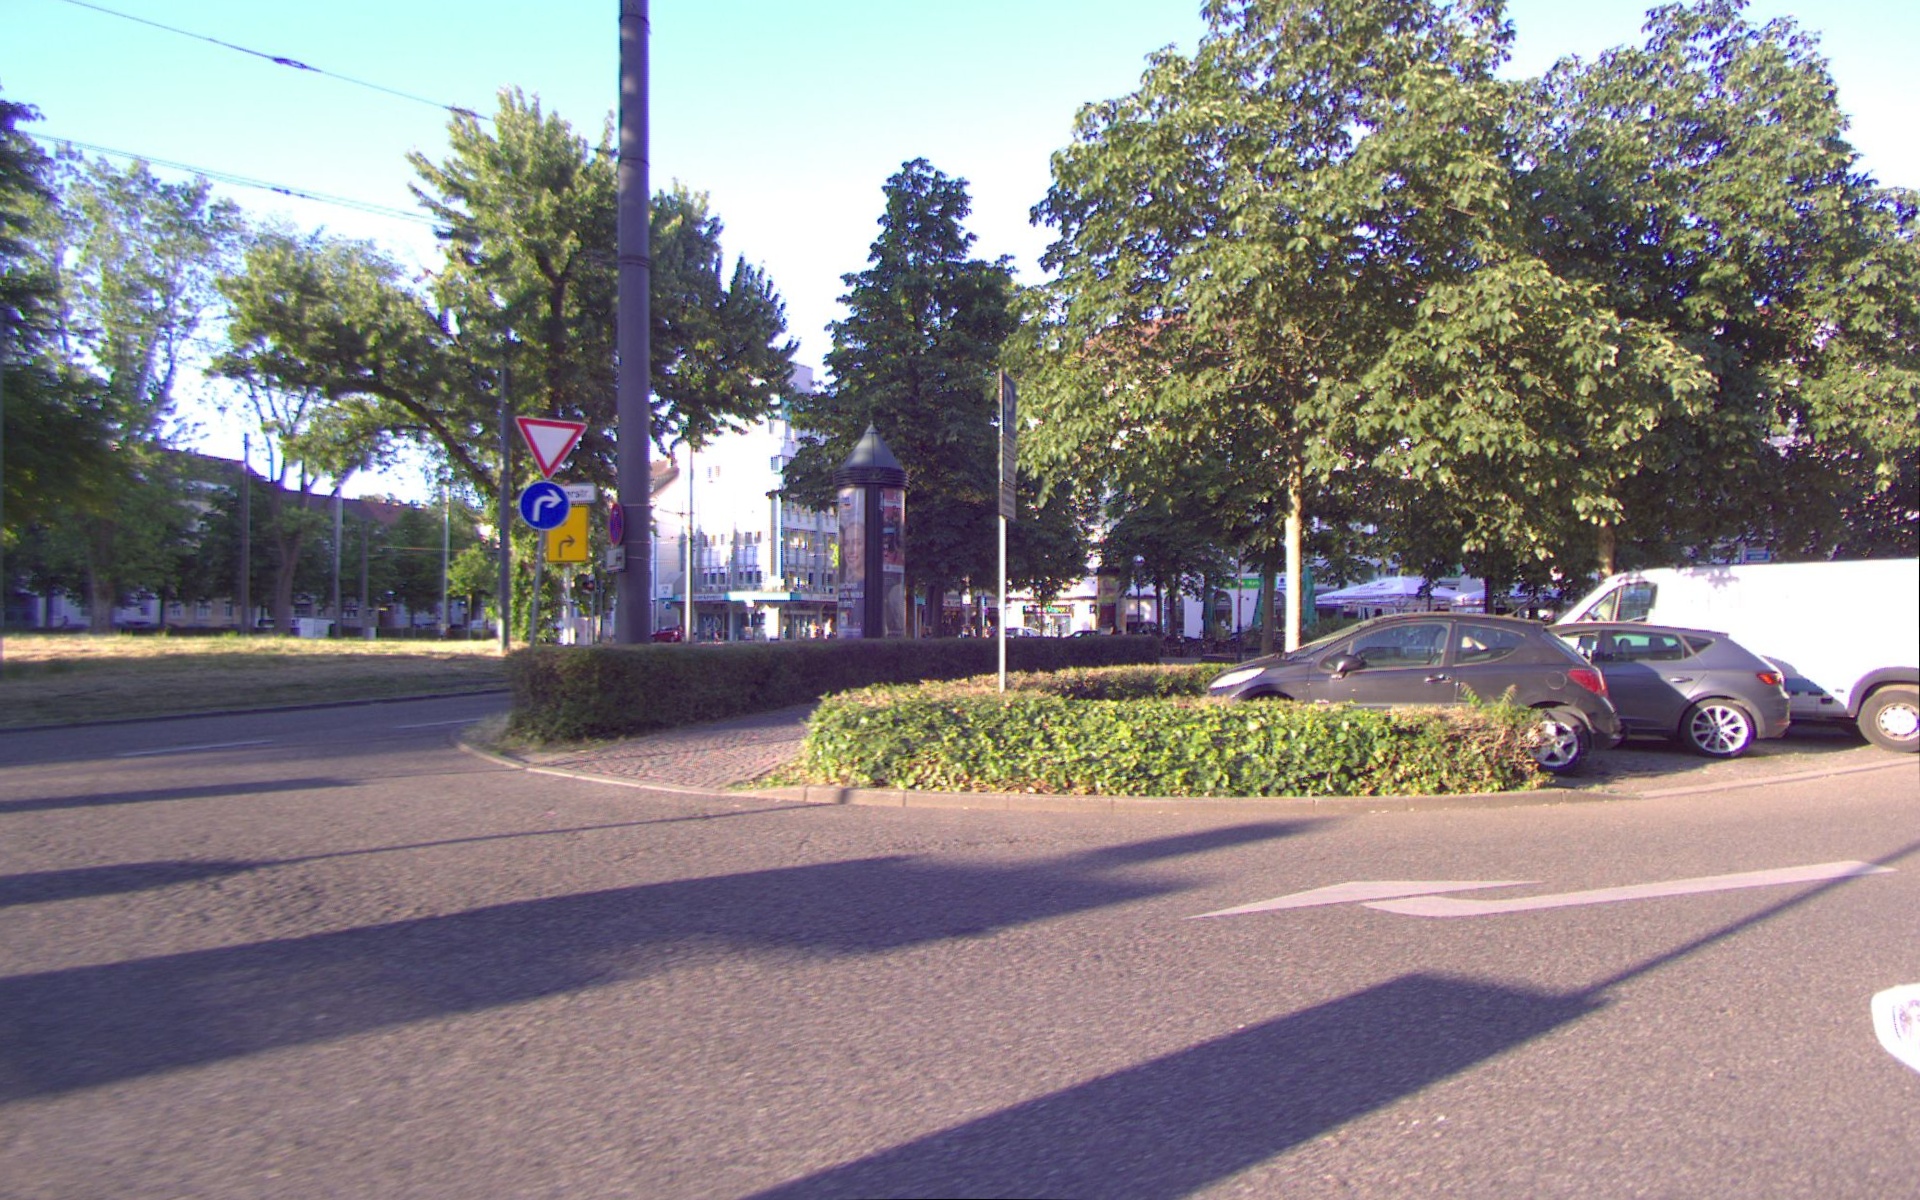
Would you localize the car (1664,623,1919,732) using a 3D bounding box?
[{"bbox_3d":[13.525,1.150,15.527,3.920,1.487,1.883,0,0,18],"label":"car"}]

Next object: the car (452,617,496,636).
[{"bbox_3d":[-44.467,2.434,91.876,3.936,1.728,1.993,-1,-2,37],"label":"car"}]

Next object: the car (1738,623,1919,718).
[{"bbox_3d":[16.204,1.207,17.396,3.922,1.512,1.849,1,0,22],"label":"car"}]

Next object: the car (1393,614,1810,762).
[{"bbox_3d":[7.404,0.946,12.105,3.922,1.506,1.833,0,0,21],"label":"car"}]

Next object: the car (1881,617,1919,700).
[{"bbox_3d":[21.976,1.257,20.763,3.924,1.718,1.748,1,0,25],"label":"car"}]

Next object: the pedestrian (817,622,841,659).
[{"bbox_3d":[-6.823,2.104,52.233,0.984,1.865,0.857,-1,1,-30],"label":"pedestrian"}]

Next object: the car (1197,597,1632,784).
[{"bbox_3d":[4.605,0.813,10.551,3.811,1.603,1.801,1,0,25],"label":"car"}]

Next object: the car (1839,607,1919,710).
[{"bbox_3d":[19.336,1.102,18.811,3.924,1.903,1.869,0,0,25],"label":"car"}]

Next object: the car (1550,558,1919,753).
[{"bbox_3d":[10.643,0.653,13.522,4.535,2.281,2.197,1,0,34],"label":"car"}]

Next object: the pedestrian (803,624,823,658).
[{"bbox_3d":[-7.862,2.186,53.673,0.814,1.722,0.740,-1,1,-30],"label":"pedestrian"}]

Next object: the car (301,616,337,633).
[{"bbox_3d":[-68.408,2.586,107.220,3.935,1.706,1.993,0,0,37],"label":"car"}]
